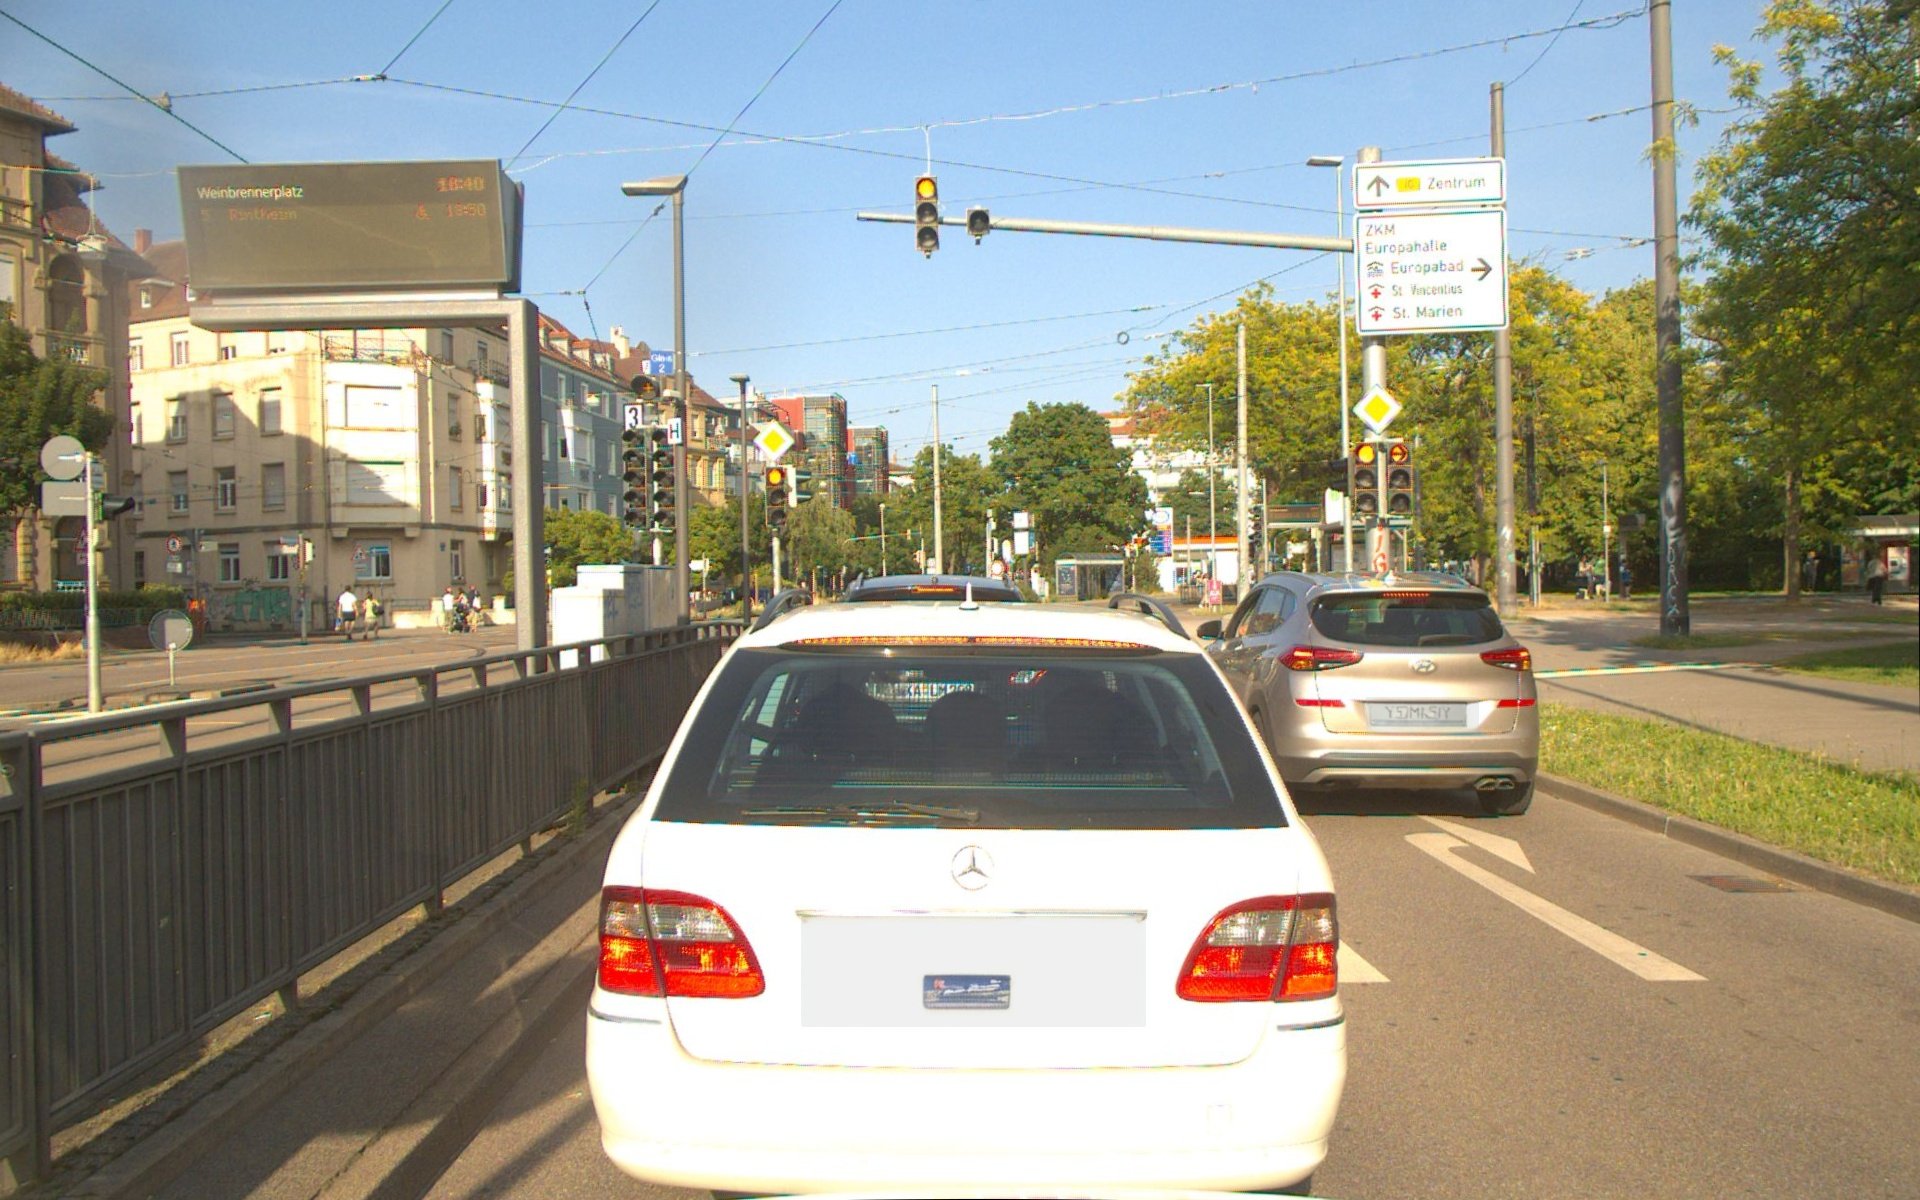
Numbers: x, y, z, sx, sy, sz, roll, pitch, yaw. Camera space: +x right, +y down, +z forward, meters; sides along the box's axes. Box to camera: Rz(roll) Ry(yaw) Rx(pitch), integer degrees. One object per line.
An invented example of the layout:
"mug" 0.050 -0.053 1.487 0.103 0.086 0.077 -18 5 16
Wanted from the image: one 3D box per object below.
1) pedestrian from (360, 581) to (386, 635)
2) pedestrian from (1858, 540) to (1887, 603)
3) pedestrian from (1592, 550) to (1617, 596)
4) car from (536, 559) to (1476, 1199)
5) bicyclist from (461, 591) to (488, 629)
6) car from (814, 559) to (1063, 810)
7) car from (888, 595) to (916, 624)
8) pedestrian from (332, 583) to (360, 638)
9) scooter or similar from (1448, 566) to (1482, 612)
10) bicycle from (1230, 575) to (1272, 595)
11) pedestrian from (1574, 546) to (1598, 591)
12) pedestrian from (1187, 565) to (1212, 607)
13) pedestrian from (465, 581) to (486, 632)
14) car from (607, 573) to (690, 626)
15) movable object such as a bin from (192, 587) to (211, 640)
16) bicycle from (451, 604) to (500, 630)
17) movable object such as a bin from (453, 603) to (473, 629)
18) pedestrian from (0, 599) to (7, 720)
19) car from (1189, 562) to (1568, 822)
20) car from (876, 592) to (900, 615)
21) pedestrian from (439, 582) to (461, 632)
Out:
"pedestrian" -20.895 0.276 58.885 0.661 1.880 0.649 -1 0 -3
"pedestrian" 27.757 -0.865 50.319 0.456 1.900 0.599 1 -1 -31
"pedestrian" 24.522 -1.023 62.935 0.628 1.694 0.690 -1 0 -1
"car" 0.066 0.674 5.076 1.798 1.527 3.814 0 0 -1
"bicyclist" -20.701 0.421 70.503 1.021 1.597 0.660 -1 0 -11
"car" -0.166 0.535 12.656 1.608 1.628 3.814 0 0 -1
"car" -4.925 0.778 140.841 2.132 2.278 5.253 -1 1 0
"pedestrian" -21.837 0.369 58.845 0.644 1.913 0.627 -1 0 14
"scooter or similar" 13.937 -0.306 45.662 0.345 1.253 1.131 -1 0 -15
"bicycle" 14.622 -0.742 83.141 1.975 0.963 0.880 -1 0 19
"pedestrian" 24.250 -1.222 64.104 0.628 1.694 0.690 -1 0 -1
"pedestrian" 11.924 -0.690 82.371 0.976 2.049 0.827 -1 0 27
"pedestrian" -18.730 0.242 63.905 0.573 1.913 0.626 -1 3 -3
"car" -12.766 -0.029 68.219 2.100 2.049 5.389 -1 0 3
"movable object such as a bin" -25.480 0.435 55.534 0.261 1.739 2.357 -2 1 -31
"bicycle" -20.646 0.714 70.516 1.955 1.024 0.740 -2 0 -12
"movable object such as a bin" -19.450 0.624 64.697 0.571 0.963 0.663 -1 0 -2
"pedestrian" -13.224 0.811 22.078 0.578 1.617 0.715 -1 0 -5
"car" 2.896 0.561 12.285 1.798 1.628 3.814 0 0 -1
"car" -5.472 0.240 126.388 1.642 1.552 4.125 -1 2 0
"pedestrian" -19.674 0.262 63.802 0.572 1.913 0.627 -1 0 2
